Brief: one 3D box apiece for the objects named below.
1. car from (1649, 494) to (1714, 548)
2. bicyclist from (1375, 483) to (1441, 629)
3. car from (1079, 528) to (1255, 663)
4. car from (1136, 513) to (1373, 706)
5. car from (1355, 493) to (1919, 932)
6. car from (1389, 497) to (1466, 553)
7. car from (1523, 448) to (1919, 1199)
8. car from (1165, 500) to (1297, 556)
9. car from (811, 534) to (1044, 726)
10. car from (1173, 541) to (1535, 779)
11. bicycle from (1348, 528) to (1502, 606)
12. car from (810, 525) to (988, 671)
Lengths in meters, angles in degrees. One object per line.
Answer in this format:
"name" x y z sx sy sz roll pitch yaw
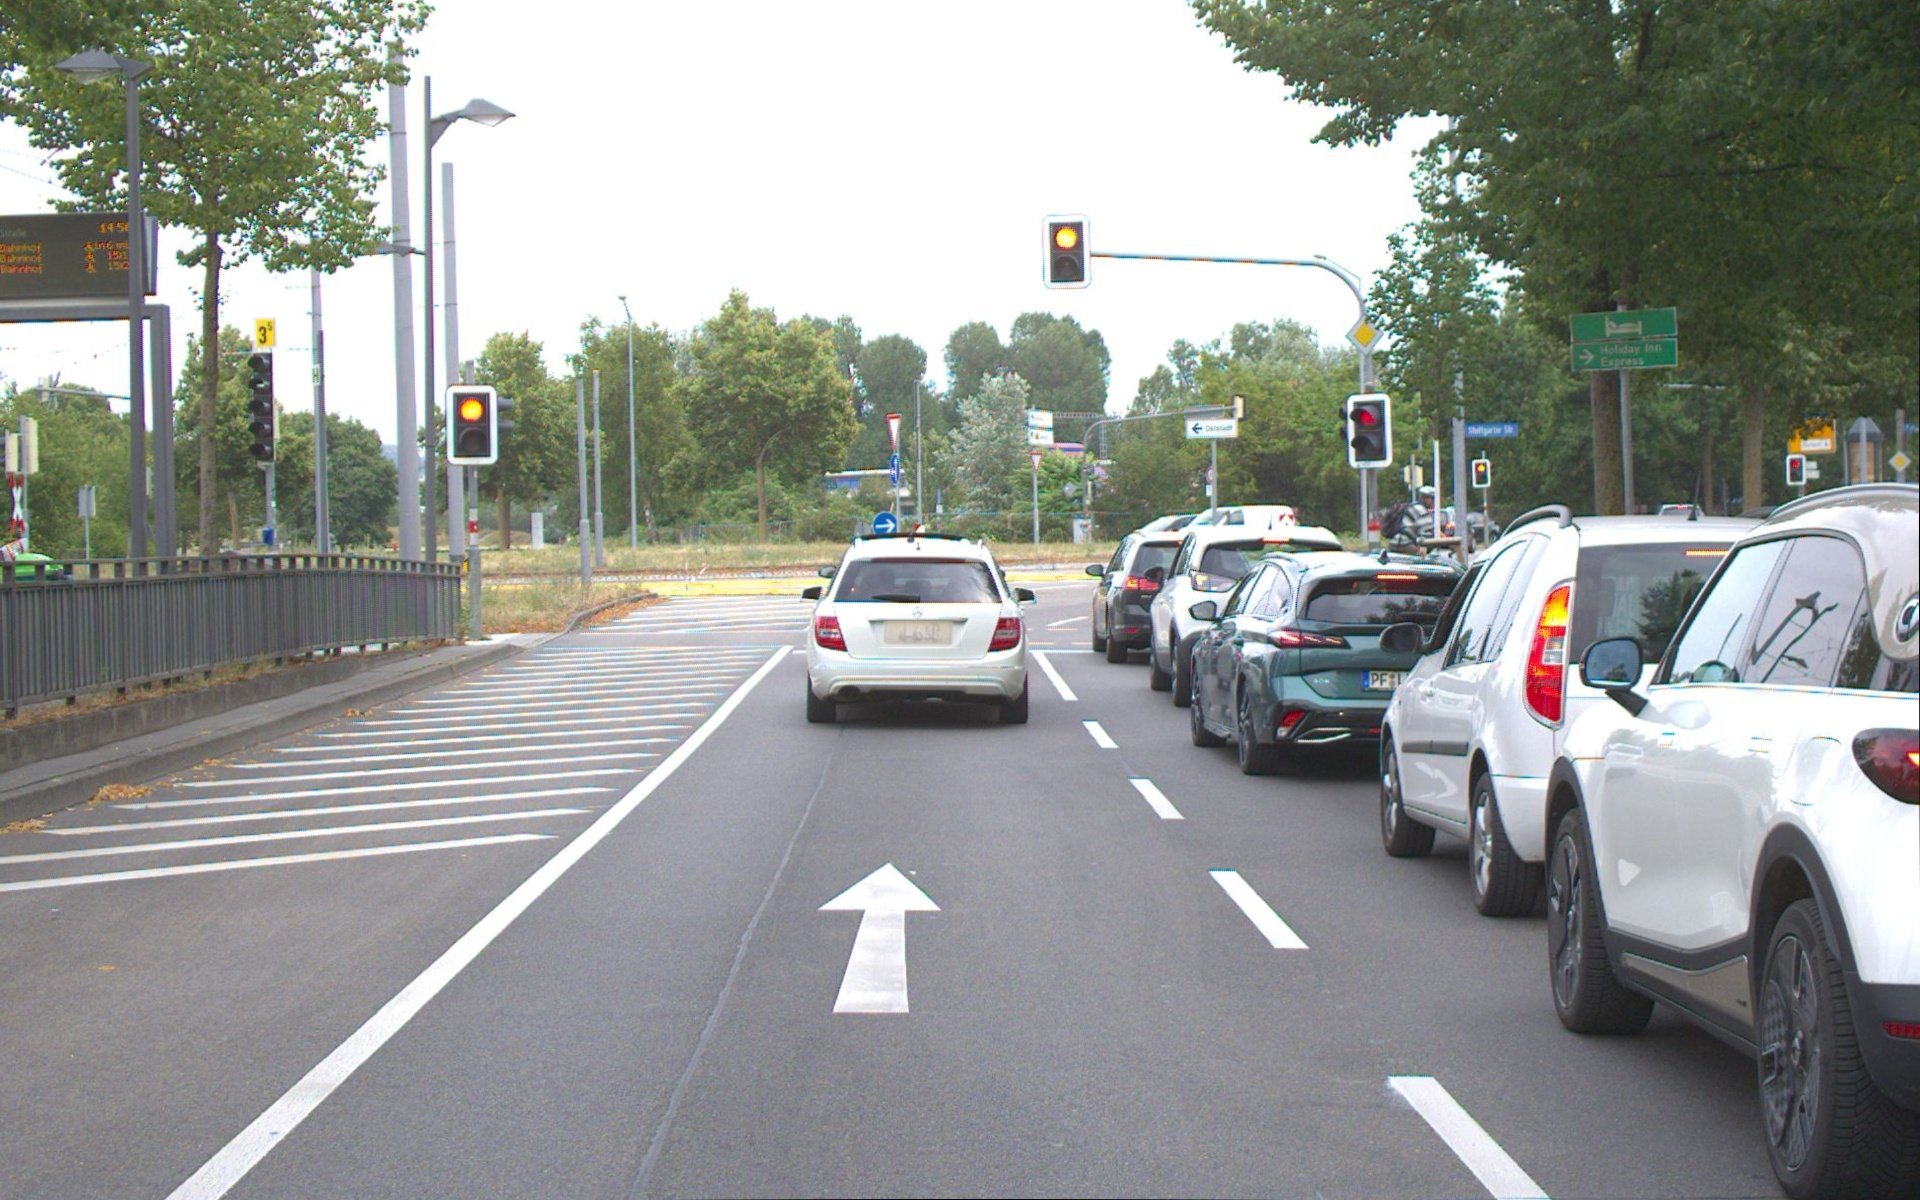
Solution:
"car" 22.428 -2.454 106.924 1.784 1.630 4.400 -1 1 9
"bicyclist" 5.853 -0.585 44.951 0.728 1.879 0.734 -1 3 -2
"car" 2.314 -0.090 39.239 1.624 1.443 3.911 0 1 -2
"car" 2.620 0.037 31.358 1.787 1.619 3.911 -1 1 0
"car" 2.880 0.382 15.146 1.779 1.651 4.024 -1 1 0
"car" 15.314 -2.448 112.784 1.993 1.784 4.000 1 1 1
"car" 2.709 0.483 8.948 1.779 1.651 4.024 1 1 0
"car" 10.107 -2.677 128.004 4.986 2.007 1.999 -2 2 -43
"car" -0.320 0.194 28.237 1.773 1.443 3.911 0 1 -2
"car" 2.567 0.334 23.370 1.787 1.427 4.311 -1 1 -2
"bicycle" 6.077 -0.436 44.971 1.933 0.980 0.565 -1 1 -1
"car" -0.683 -0.062 36.421 1.773 1.443 3.911 0 1 -2
